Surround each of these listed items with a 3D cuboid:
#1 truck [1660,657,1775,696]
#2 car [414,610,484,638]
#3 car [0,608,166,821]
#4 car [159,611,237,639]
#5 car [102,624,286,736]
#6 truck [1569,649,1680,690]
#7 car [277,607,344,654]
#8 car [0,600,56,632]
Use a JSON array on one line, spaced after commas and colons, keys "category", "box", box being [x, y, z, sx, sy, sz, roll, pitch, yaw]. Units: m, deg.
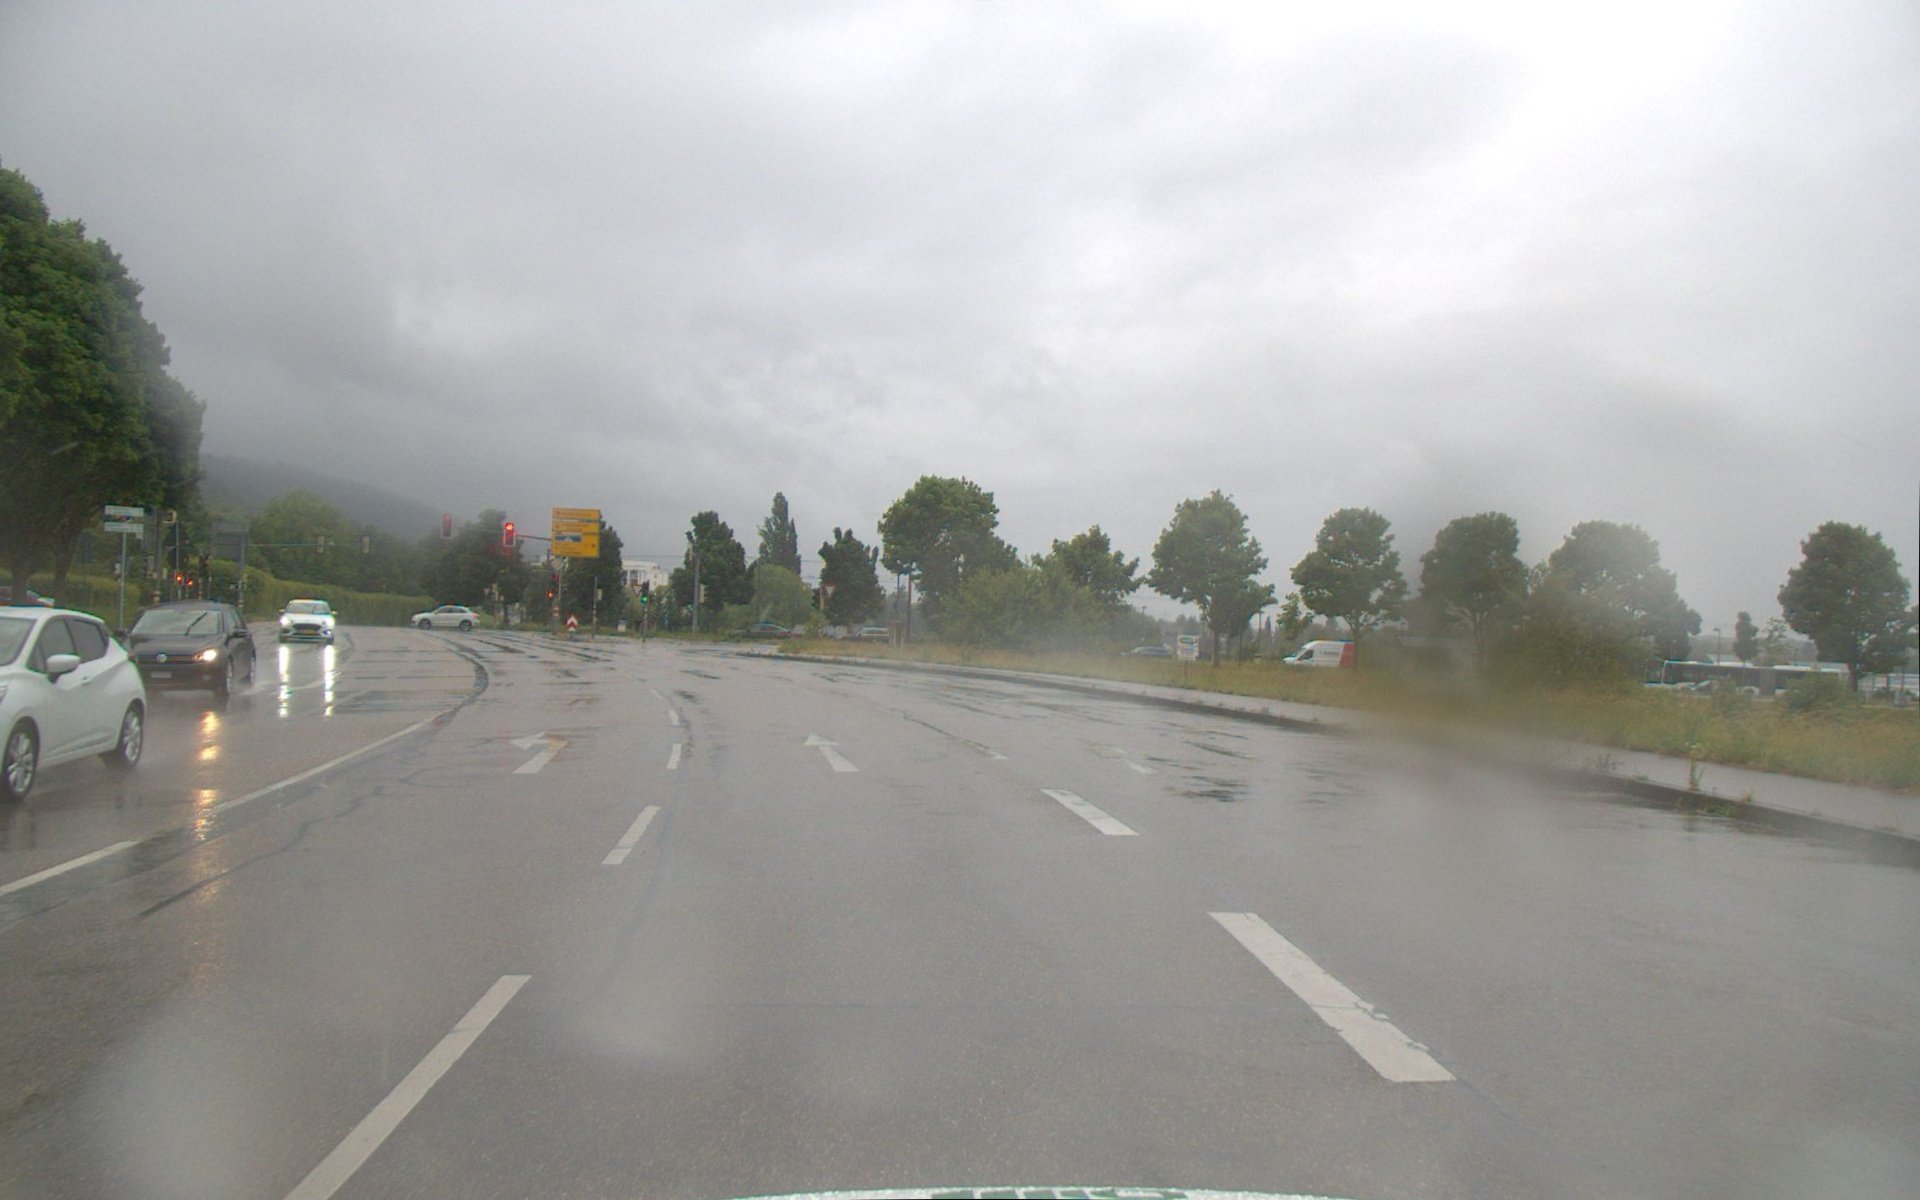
[{"category": "truck", "box": [63.682, 6.410, 139.002, 9.167, 2.821, 2.645, 3, -1, -15]}, {"category": "car", "box": [-33.710, 1.574, 109.246, 4.306, 1.607, 1.724, 3, -1, -18]}, {"category": "car", "box": [-8.002, 0.837, 13.511, 1.708, 1.513, 4.000, 0, -1, -10]}, {"category": "car", "box": [-48.151, 1.590, 104.565, 4.164, 1.607, 1.726, 3, -1, -14]}, {"category": "car", "box": [-12.590, 1.269, 27.457, 1.852, 1.615, 4.104, 4, -2, -13]}, {"category": "truck", "box": [54.859, 5.714, 136.516, 8.673, 2.881, 2.645, 3, -1, -15]}, {"category": "car", "box": [-23.142, 1.075, 59.079, 1.849, 1.601, 4.622, 1, -1, -17]}, {"category": "car", "box": [-50.912, 0.804, 88.249, 4.301, 1.607, 1.726, 3, -1, -14]}]
